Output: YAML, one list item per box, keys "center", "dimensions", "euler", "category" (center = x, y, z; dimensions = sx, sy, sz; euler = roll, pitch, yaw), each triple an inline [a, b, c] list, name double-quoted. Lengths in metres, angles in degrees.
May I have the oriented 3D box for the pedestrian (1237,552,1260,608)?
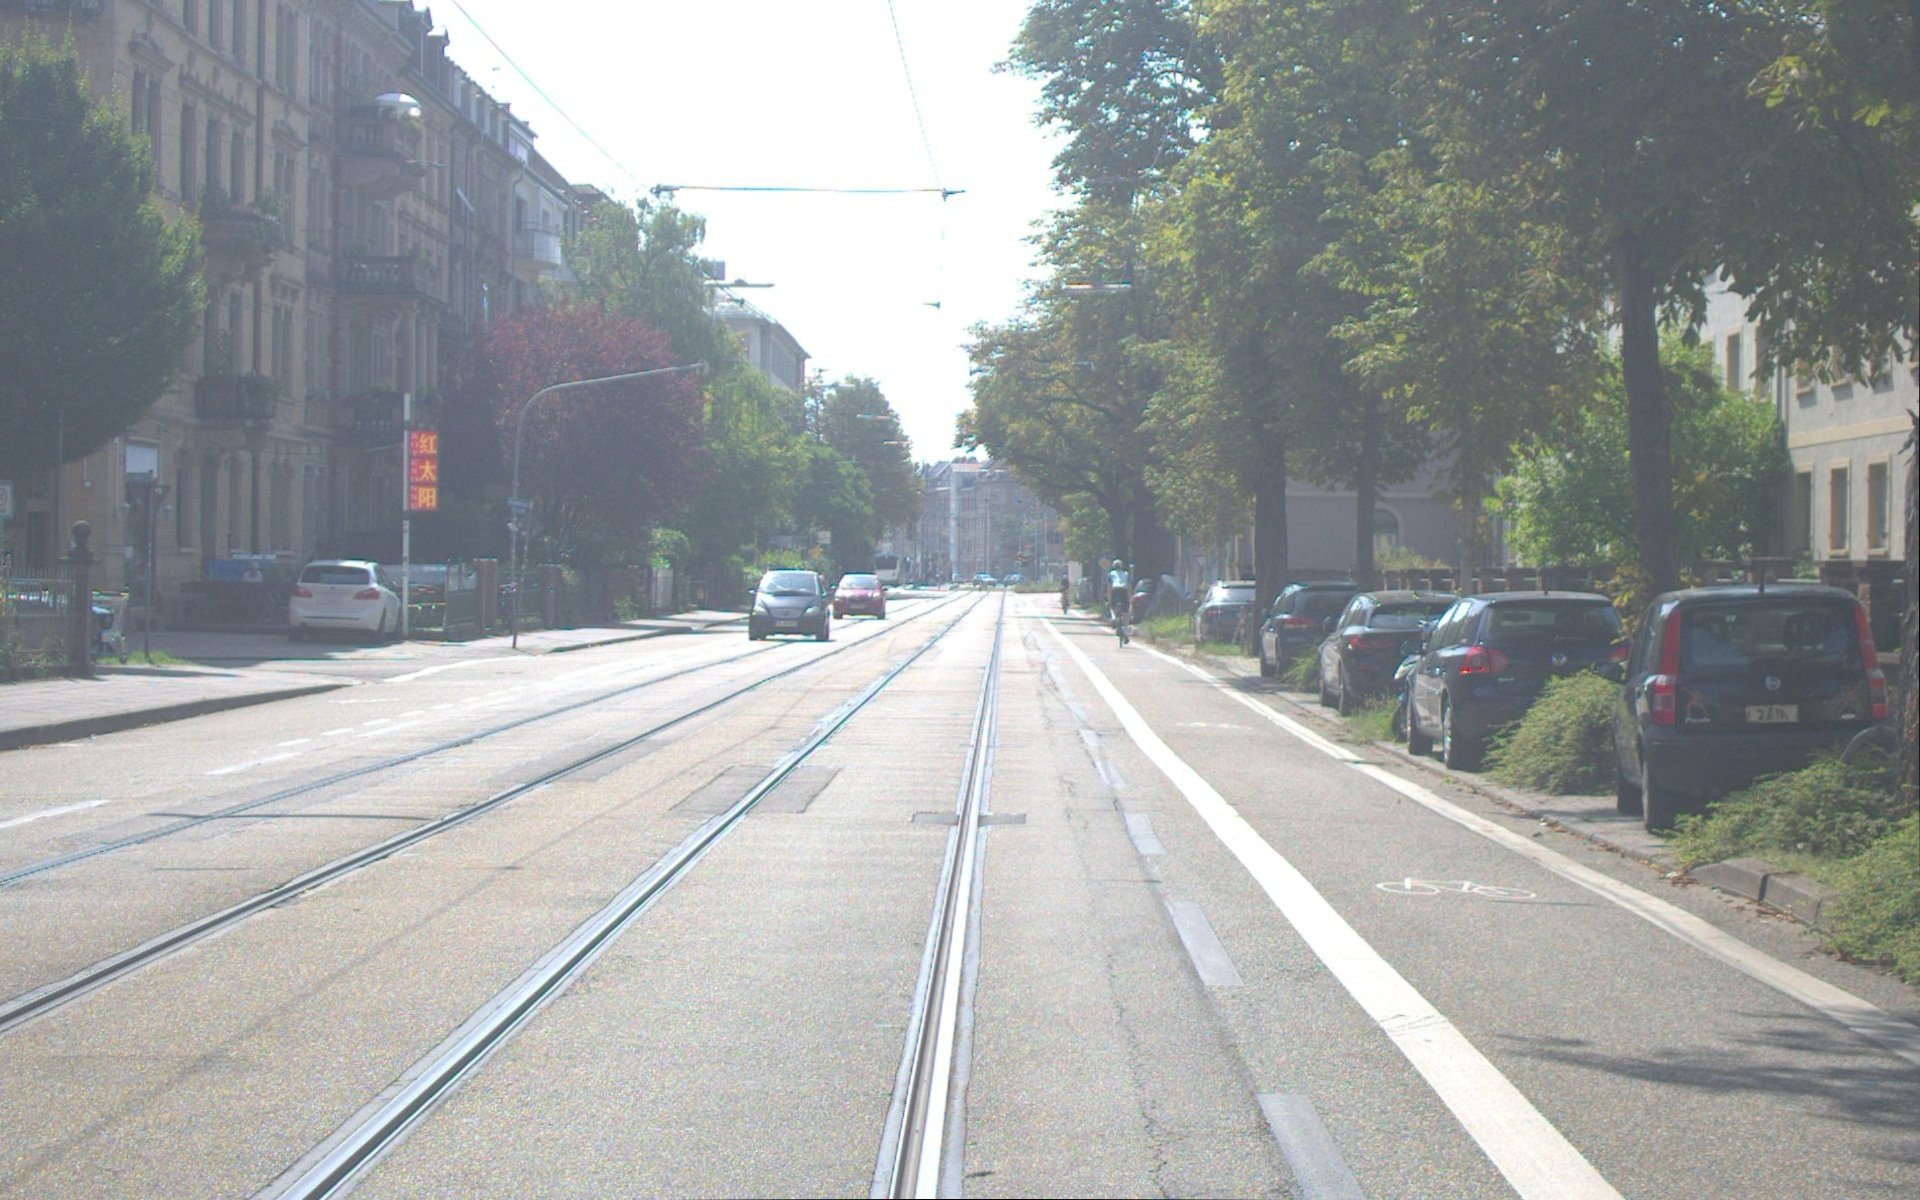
- center: [9.689, -0.669, 115.466]
  dimensions: [0.706, 1.885, 0.714]
  euler: [1, 0, 3]
  category: "pedestrian"

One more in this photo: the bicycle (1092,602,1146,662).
- center: [3.548, 0.701, 76.788]
  dimensions: [1.148, 1.265, 2.712]
  euler: [1, 1, 2]
  category: "bicycle"

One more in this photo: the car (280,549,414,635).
- center: [-11.868, -0.174, 66.759]
  dimensions: [1.993, 1.589, 4.360]
  euler: [1, 0, -3]
  category: "car"

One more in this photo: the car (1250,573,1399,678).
- center: [5.422, 0.349, 51.570]
  dimensions: [1.755, 1.472, 4.386]
  euler: [1, 1, 0]
  category: "car"

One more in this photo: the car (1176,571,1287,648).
- center: [5.456, 0.169, 69.683]
  dimensions: [1.892, 1.472, 4.840]
  euler: [1, 1, 1]
  category: "car"

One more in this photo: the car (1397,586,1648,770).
- center: [4.888, 0.631, 30.314]
  dimensions: [1.617, 1.472, 4.039]
  euler: [0, 1, 1]
  category: "car"

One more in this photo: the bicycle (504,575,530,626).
- center: [-9.818, 0.006, 76.143]
  dimensions: [0.390, 1.095, 1.569]
  euler: [1, 1, -1]
  category: "bicycle"

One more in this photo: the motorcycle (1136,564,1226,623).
- center: [5.976, -0.155, 93.065]
  dimensions: [2.344, 1.535, 0.966]
  euler: [-1, -2, 42]
  category: "motorcycle"

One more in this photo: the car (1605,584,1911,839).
- center: [5.152, 0.662, 22.537]
  dimensions: [1.617, 1.525, 3.498]
  euler: [0, 0, 7]
  category: "car"

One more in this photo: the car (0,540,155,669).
- center: [-12.813, 0.008, 44.824]
  dimensions: [4.102, 1.589, 1.879]
  euler: [2, 0, 3]
  category: "car"

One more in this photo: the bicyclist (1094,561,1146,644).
- center: [3.561, 0.051, 76.642]
  dimensions: [1.125, 1.830, 0.956]
  euler: [1, 0, 2]
  category: "bicyclist"

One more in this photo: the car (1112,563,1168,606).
- center: [6.554, -0.589, 125.444]
  dimensions: [1.840, 1.527, 4.780]
  euler: [0, 0, 1]
  category: "car"

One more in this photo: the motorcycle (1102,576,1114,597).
- center: [7.675, -0.710, 178.388]
  dimensions: [0.549, 1.064, 2.330]
  euler: [1, 0, 1]
  category: "motorcycle"

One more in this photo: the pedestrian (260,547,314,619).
- center: [-14.381, -0.365, 73.440]
  dimensions: [0.883, 1.506, 0.870]
  euler: [1, 1, -30]
  category: "pedestrian"

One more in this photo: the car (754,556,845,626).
- center: [-3.615, -0.223, 77.981]
  dimensions: [1.827, 1.535, 4.000]
  euler: [0, 1, 0]
  category: "car"

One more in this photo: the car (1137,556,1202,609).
- center: [6.603, -0.580, 108.686]
  dimensions: [1.840, 1.527, 4.115]
  euler: [1, 2, 1]
  category: "car"

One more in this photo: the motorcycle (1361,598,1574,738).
- center: [5.110, 0.679, 34.712]
  dimensions: [2.003, 1.363, 0.782]
  euler: [1, 0, -2]
  category: "motorcycle"

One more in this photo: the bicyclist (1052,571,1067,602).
- center: [4.217, -0.569, 145.387]
  dimensions: [0.579, 1.274, 0.471]
  euler: [1, 0, 4]
  category: "bicyclist"

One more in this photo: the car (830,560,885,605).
- center: [-3.467, -0.612, 117.025]
  dimensions: [1.732, 1.485, 4.000]
  euler: [0, 1, 0]
  category: "car"

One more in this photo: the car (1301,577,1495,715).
- center: [5.155, 0.510, 40.950]
  dimensions: [1.755, 1.472, 4.457]
  euler: [-3, 0, 1]
  category: "car"

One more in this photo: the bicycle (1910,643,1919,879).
- center: [5.149, 0.760, 16.374]
  dimensions: [1.388, 1.104, 0.389]
  euler: [0, 1, -34]
  category: "bicycle"

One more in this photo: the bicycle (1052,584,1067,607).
- center: [4.206, -0.178, 145.349]
  dimensions: [0.588, 0.936, 2.171]
  euler: [1, 0, 3]
  category: "bicycle"
